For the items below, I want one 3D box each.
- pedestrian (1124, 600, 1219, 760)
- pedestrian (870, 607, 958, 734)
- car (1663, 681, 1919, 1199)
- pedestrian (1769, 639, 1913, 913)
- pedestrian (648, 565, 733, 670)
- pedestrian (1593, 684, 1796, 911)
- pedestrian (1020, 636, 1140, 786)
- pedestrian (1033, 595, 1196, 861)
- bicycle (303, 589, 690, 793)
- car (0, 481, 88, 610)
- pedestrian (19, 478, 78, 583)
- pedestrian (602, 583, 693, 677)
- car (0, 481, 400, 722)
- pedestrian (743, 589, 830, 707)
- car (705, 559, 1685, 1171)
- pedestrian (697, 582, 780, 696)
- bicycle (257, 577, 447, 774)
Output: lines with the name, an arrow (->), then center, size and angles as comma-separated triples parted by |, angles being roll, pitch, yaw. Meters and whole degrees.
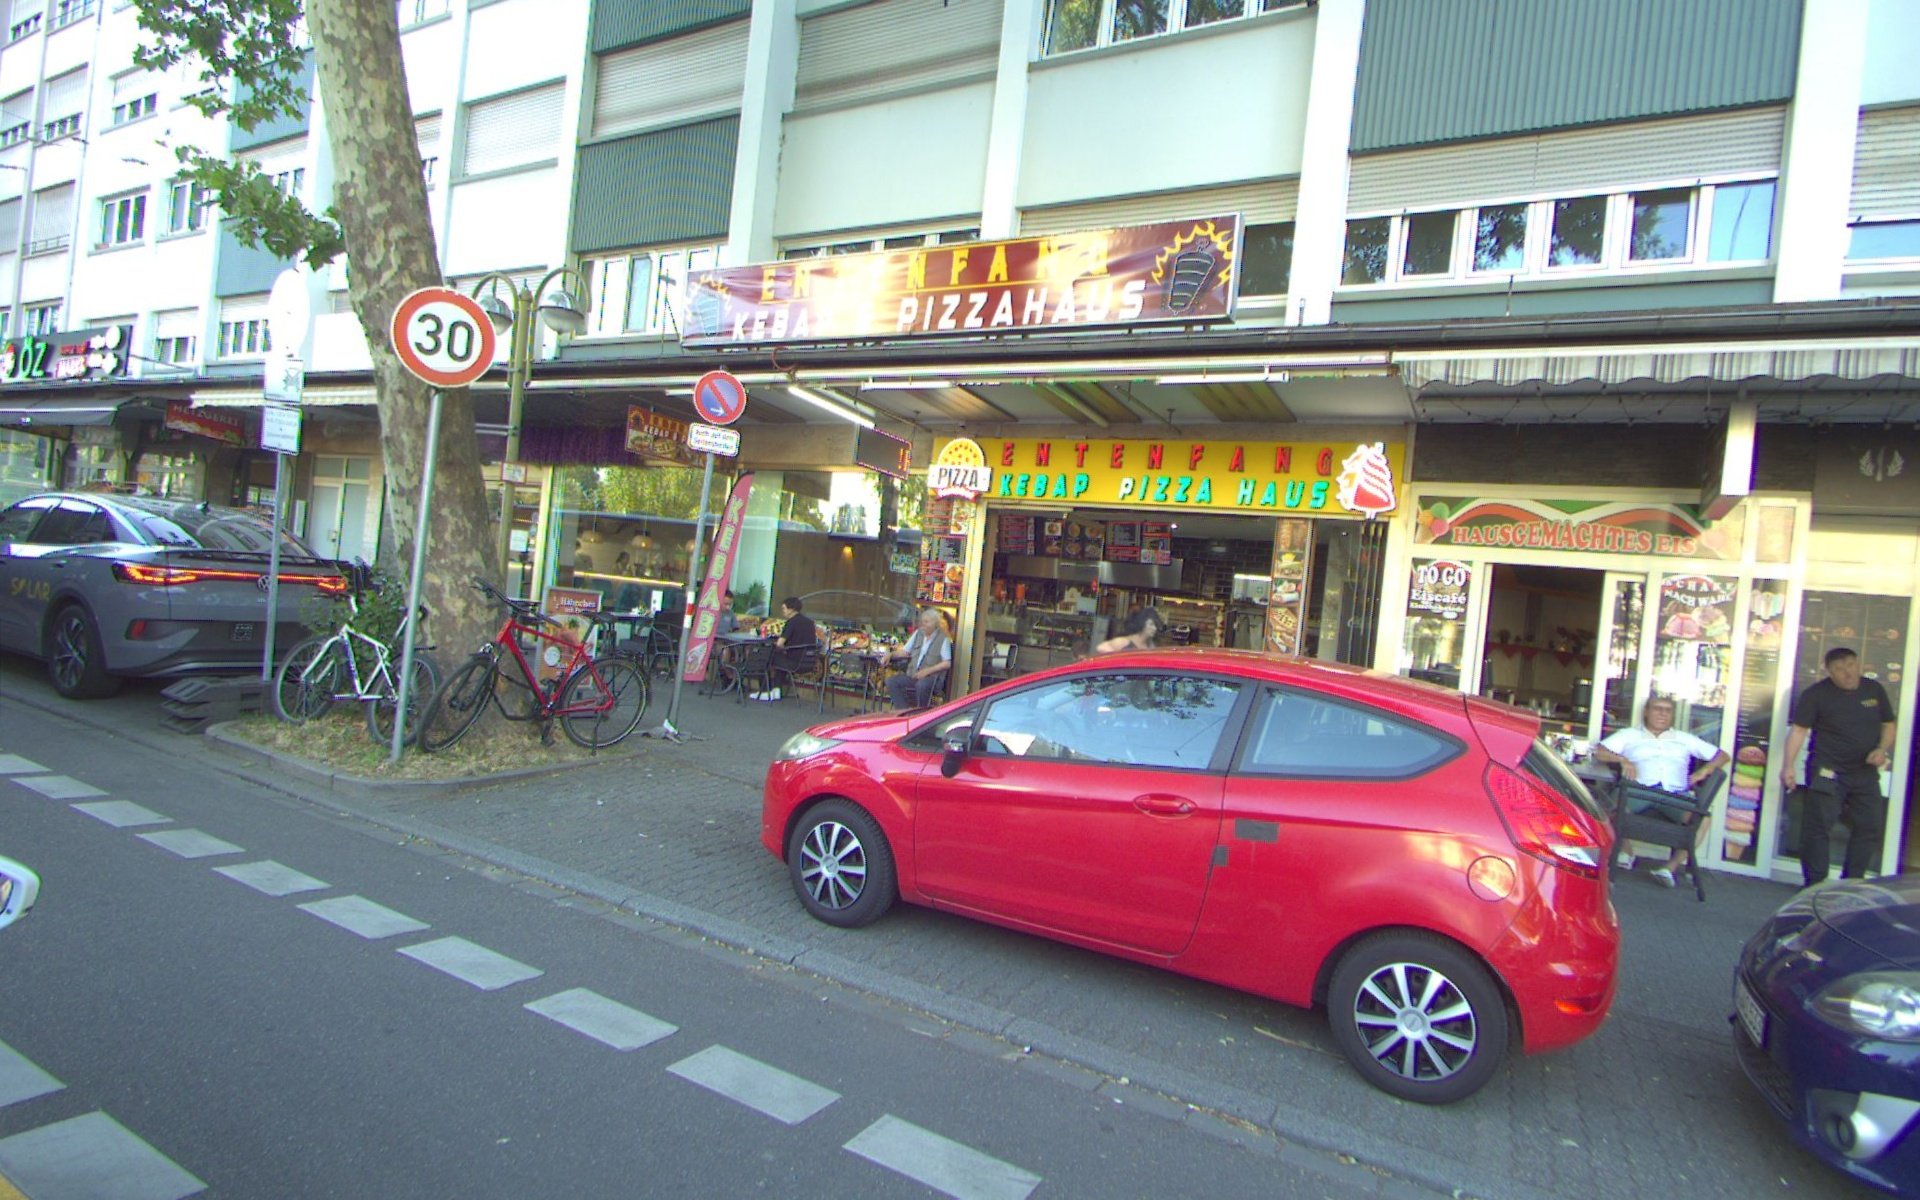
pedestrian -> 2.232, 0.837, 10.589 | 0.589, 1.566, 0.700 | 7, 0, 34
pedestrian -> -0.482, 0.738, 10.745 | 0.550, 1.252, 0.689 | 7, 2, 29
car -> 4.283, 1.248, 2.753 | 3.549, 1.488, 1.767 | 6, 3, 29
pedestrian -> 6.159, 1.196, 7.062 | 0.547, 1.802, 0.395 | 6, 2, 29
pedestrian -> -3.830, 0.245, 14.375 | 0.958, 1.350, 0.830 | 6, 0, -9
pedestrian -> 5.217, 1.344, 7.243 | 0.937, 1.352, 1.069 | 7, 0, 30
pedestrian -> 1.115, 0.993, 9.294 | 0.798, 1.225, 0.654 | 7, 2, 28
pedestrian -> 1.077, 0.856, 7.000 | 0.783, 1.667, 0.583 | 7, 1, 30
bicycle -> -3.089, 0.549, 6.962 | 0.547, 1.171, 2.377 | 7, 4, 44
car -> -14.176, -0.921, 13.690 | 4.292, 1.603, 1.996 | 7, 2, 27
pedestrian -> -15.553, -1.179, 17.169 | 0.661, 1.688, 0.593 | 4, 2, -42
pedestrian -> -4.057, 0.390, 13.101 | 0.940, 1.094, 0.639 | 7, 0, -9
car -> -7.418, -0.119, 9.107 | 4.292, 1.603, 1.996 | 7, 2, 27
pedestrian -> -1.990, 0.546, 11.567 | 0.679, 1.261, 0.558 | 7, 2, 33
car -> 0.887, 0.803, 4.762 | 3.757, 1.617, 1.782 | 6, 3, 28
pedestrian -> -2.648, 0.461, 12.008 | 0.680, 1.261, 0.557 | 7, 2, 38
bicycle -> -4.311, 0.496, 7.101 | 1.421, 1.169, 0.553 | 6, 0, 36
